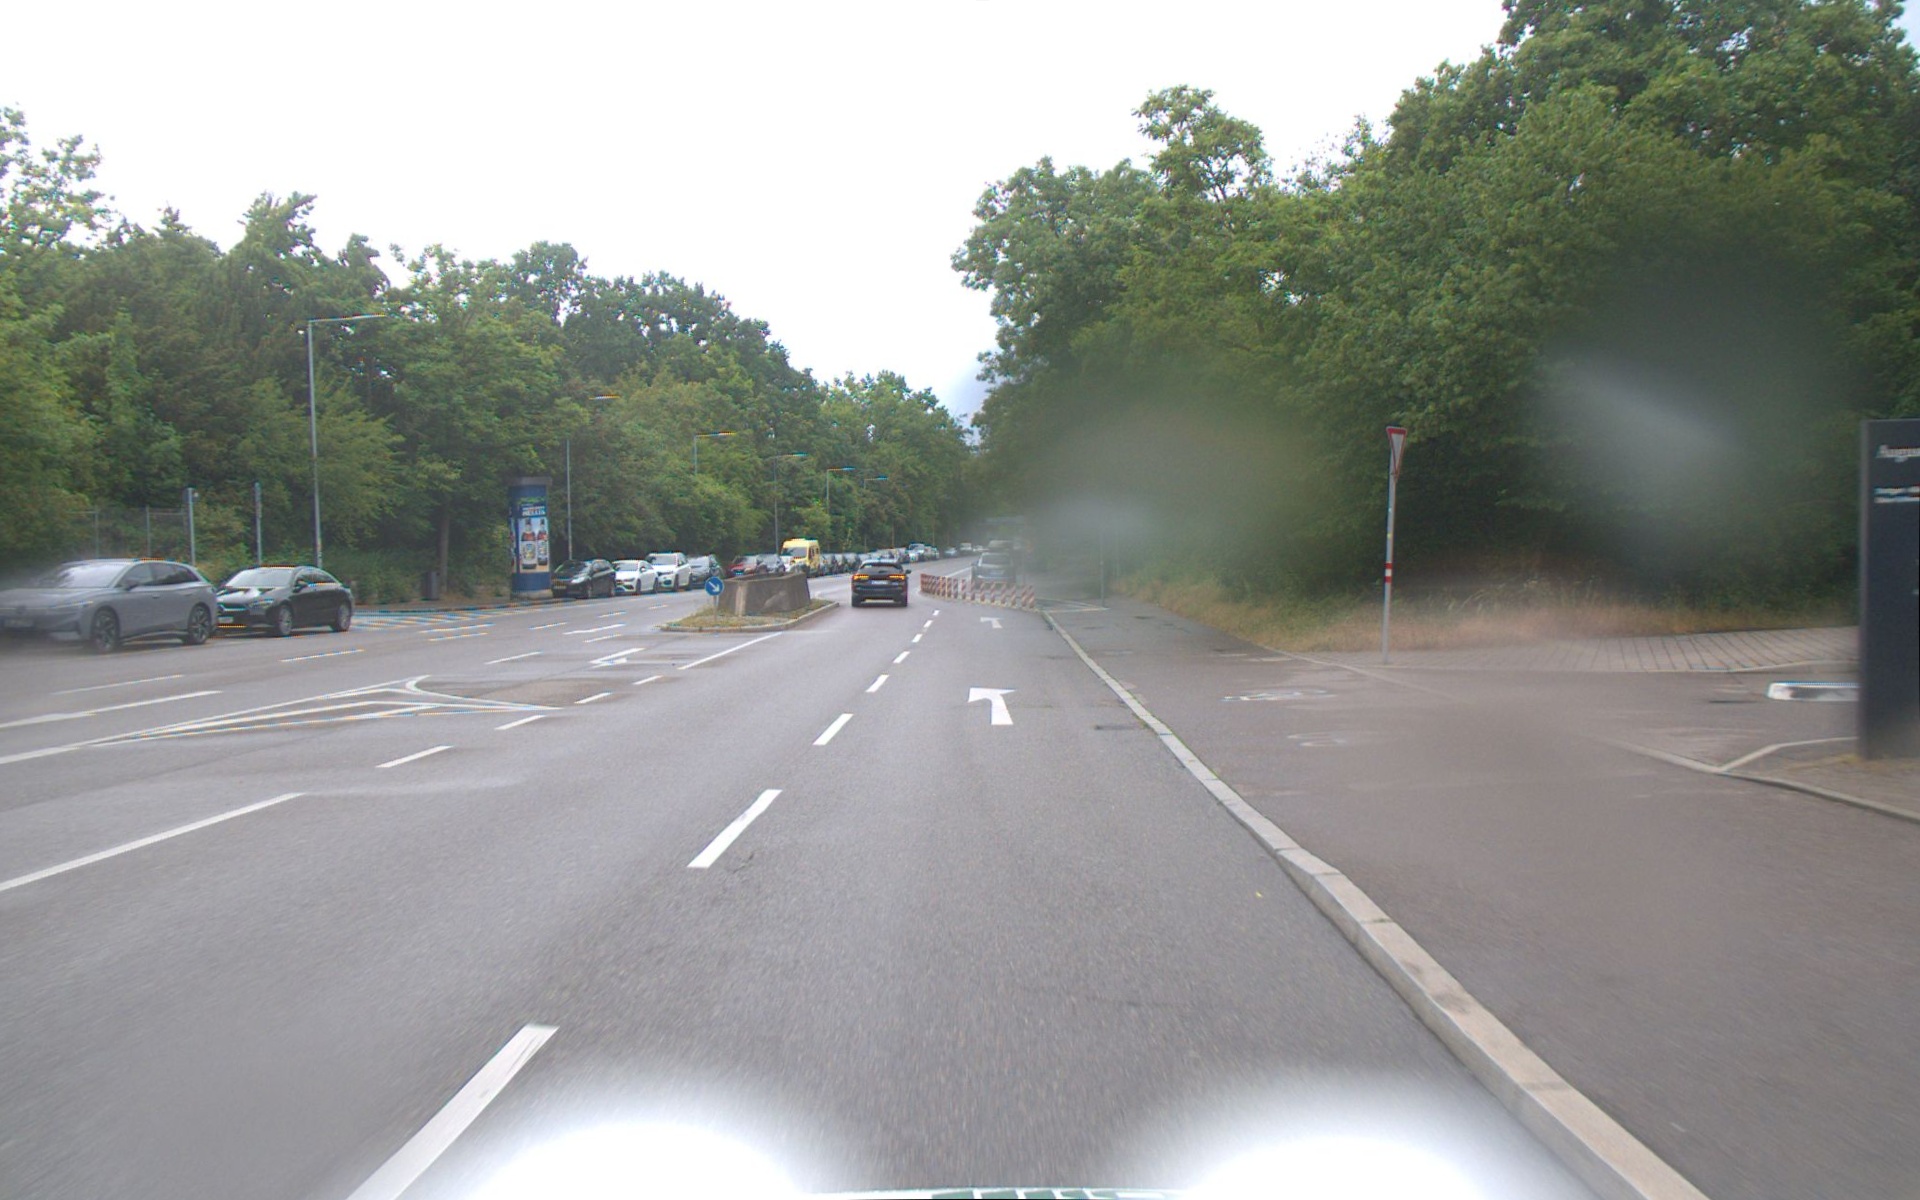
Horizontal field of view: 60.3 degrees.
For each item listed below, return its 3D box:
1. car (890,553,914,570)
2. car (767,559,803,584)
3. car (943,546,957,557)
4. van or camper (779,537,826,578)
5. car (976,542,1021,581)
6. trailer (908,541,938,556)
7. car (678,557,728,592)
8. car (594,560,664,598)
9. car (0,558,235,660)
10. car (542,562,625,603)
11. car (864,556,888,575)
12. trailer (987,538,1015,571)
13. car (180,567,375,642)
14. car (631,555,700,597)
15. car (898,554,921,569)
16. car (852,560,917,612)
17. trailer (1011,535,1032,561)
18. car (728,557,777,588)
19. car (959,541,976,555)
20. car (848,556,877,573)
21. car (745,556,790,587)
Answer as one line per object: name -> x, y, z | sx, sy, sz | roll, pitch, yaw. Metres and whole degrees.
car -> -5.861, -3.898, 166.945 | 1.840, 1.588, 4.472 | -1, 2, 5
car -> -11.145, -1.822, 105.363 | 1.583, 1.473, 3.660 | -2, 2, 5
car -> -1.419, -6.801, 230.769 | 1.637, 1.540, 3.633 | 0, 2, 4
van or camper -> -10.598, -2.896, 111.690 | 2.098, 2.672, 5.687 | -1, 2, 5
car -> 1.638, -1.671, 71.653 | 1.785, 1.643, 4.252 | 0, 2, -1
trailer -> -4.250, -5.902, 190.611 | 1.597, 1.657, 3.660 | 0, 2, 35
car -> -12.829, -1.283, 82.765 | 1.695, 1.677, 4.572 | 0, 2, 1
car -> -13.849, -0.911, 69.454 | 1.682, 1.485, 4.711 | -1, 2, 4
car -> -14.656, 0.099, 28.676 | 1.802, 1.617, 4.931 | 0, 1, 3
car -> -14.438, -0.693, 63.688 | 1.712, 1.470, 4.591 | 0, 2, 6
car -> -7.284, -3.016, 144.377 | 1.661, 1.611, 4.141 | -1, 2, 3
trailer -> 3.028, -3.320, 120.439 | 1.866, 2.286, 4.771 | -1, 2, 3
car -> -14.093, 0.049, 34.501 | 1.866, 1.439, 4.785 | 0, 1, 3
car -> -13.363, -1.130, 75.371 | 1.952, 1.796, 4.963 | -1, 2, 3
car -> -5.289, -4.086, 174.379 | 1.951, 1.514, 4.472 | -1, 2, 5
car -> -2.419, -0.470, 51.969 | 1.844, 1.491, 3.996 | 1, 2, -6
trailer -> 6.172, -5.280, 166.896 | 2.087, 2.604, 4.299 | -1, 2, 2
car -> -11.861, -1.569, 94.707 | 1.878, 1.645, 4.493 | -2, 2, 4
car -> 1.139, -8.098, 255.906 | 2.113, 2.048, 5.035 | -1, 2, 5
car -> -8.111, -2.968, 137.265 | 1.830, 1.326, 4.473 | -1, 2, 4
car -> -11.627, -1.763, 100.007 | 1.952, 1.729, 4.618 | -1, 2, 2
